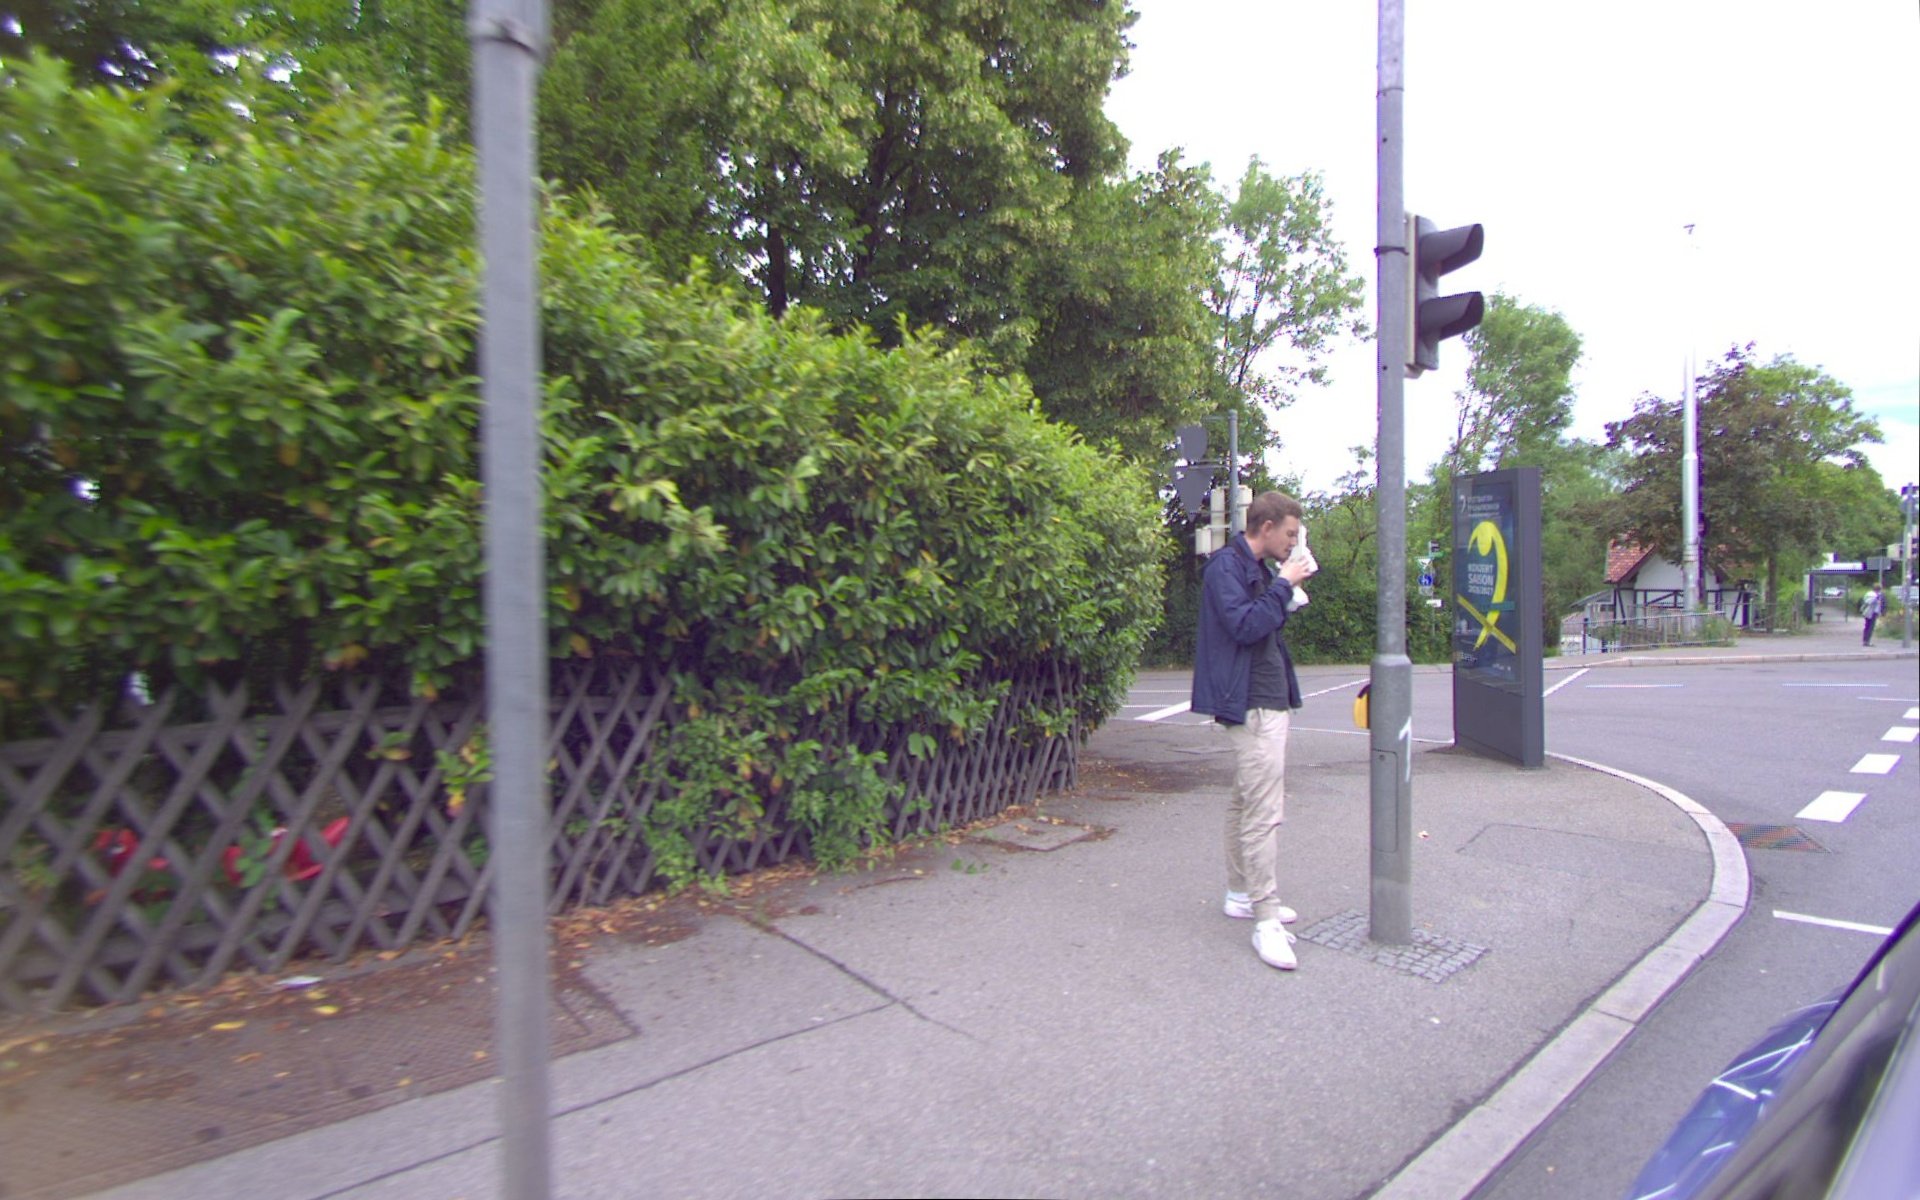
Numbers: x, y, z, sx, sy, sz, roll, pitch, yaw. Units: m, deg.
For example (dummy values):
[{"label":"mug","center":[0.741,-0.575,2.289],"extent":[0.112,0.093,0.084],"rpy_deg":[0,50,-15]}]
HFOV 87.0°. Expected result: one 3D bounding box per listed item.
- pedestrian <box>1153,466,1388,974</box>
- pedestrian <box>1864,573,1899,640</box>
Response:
[{"label":"pedestrian","center":[1.273,0.438,4.171],"extent":[0.609,1.857,0.694],"rpy_deg":[0,-1,-41]},{"label":"pedestrian","center":[23.976,0.148,26.332],"extent":[0.618,1.710,0.684],"rpy_deg":[2,2,45]}]
